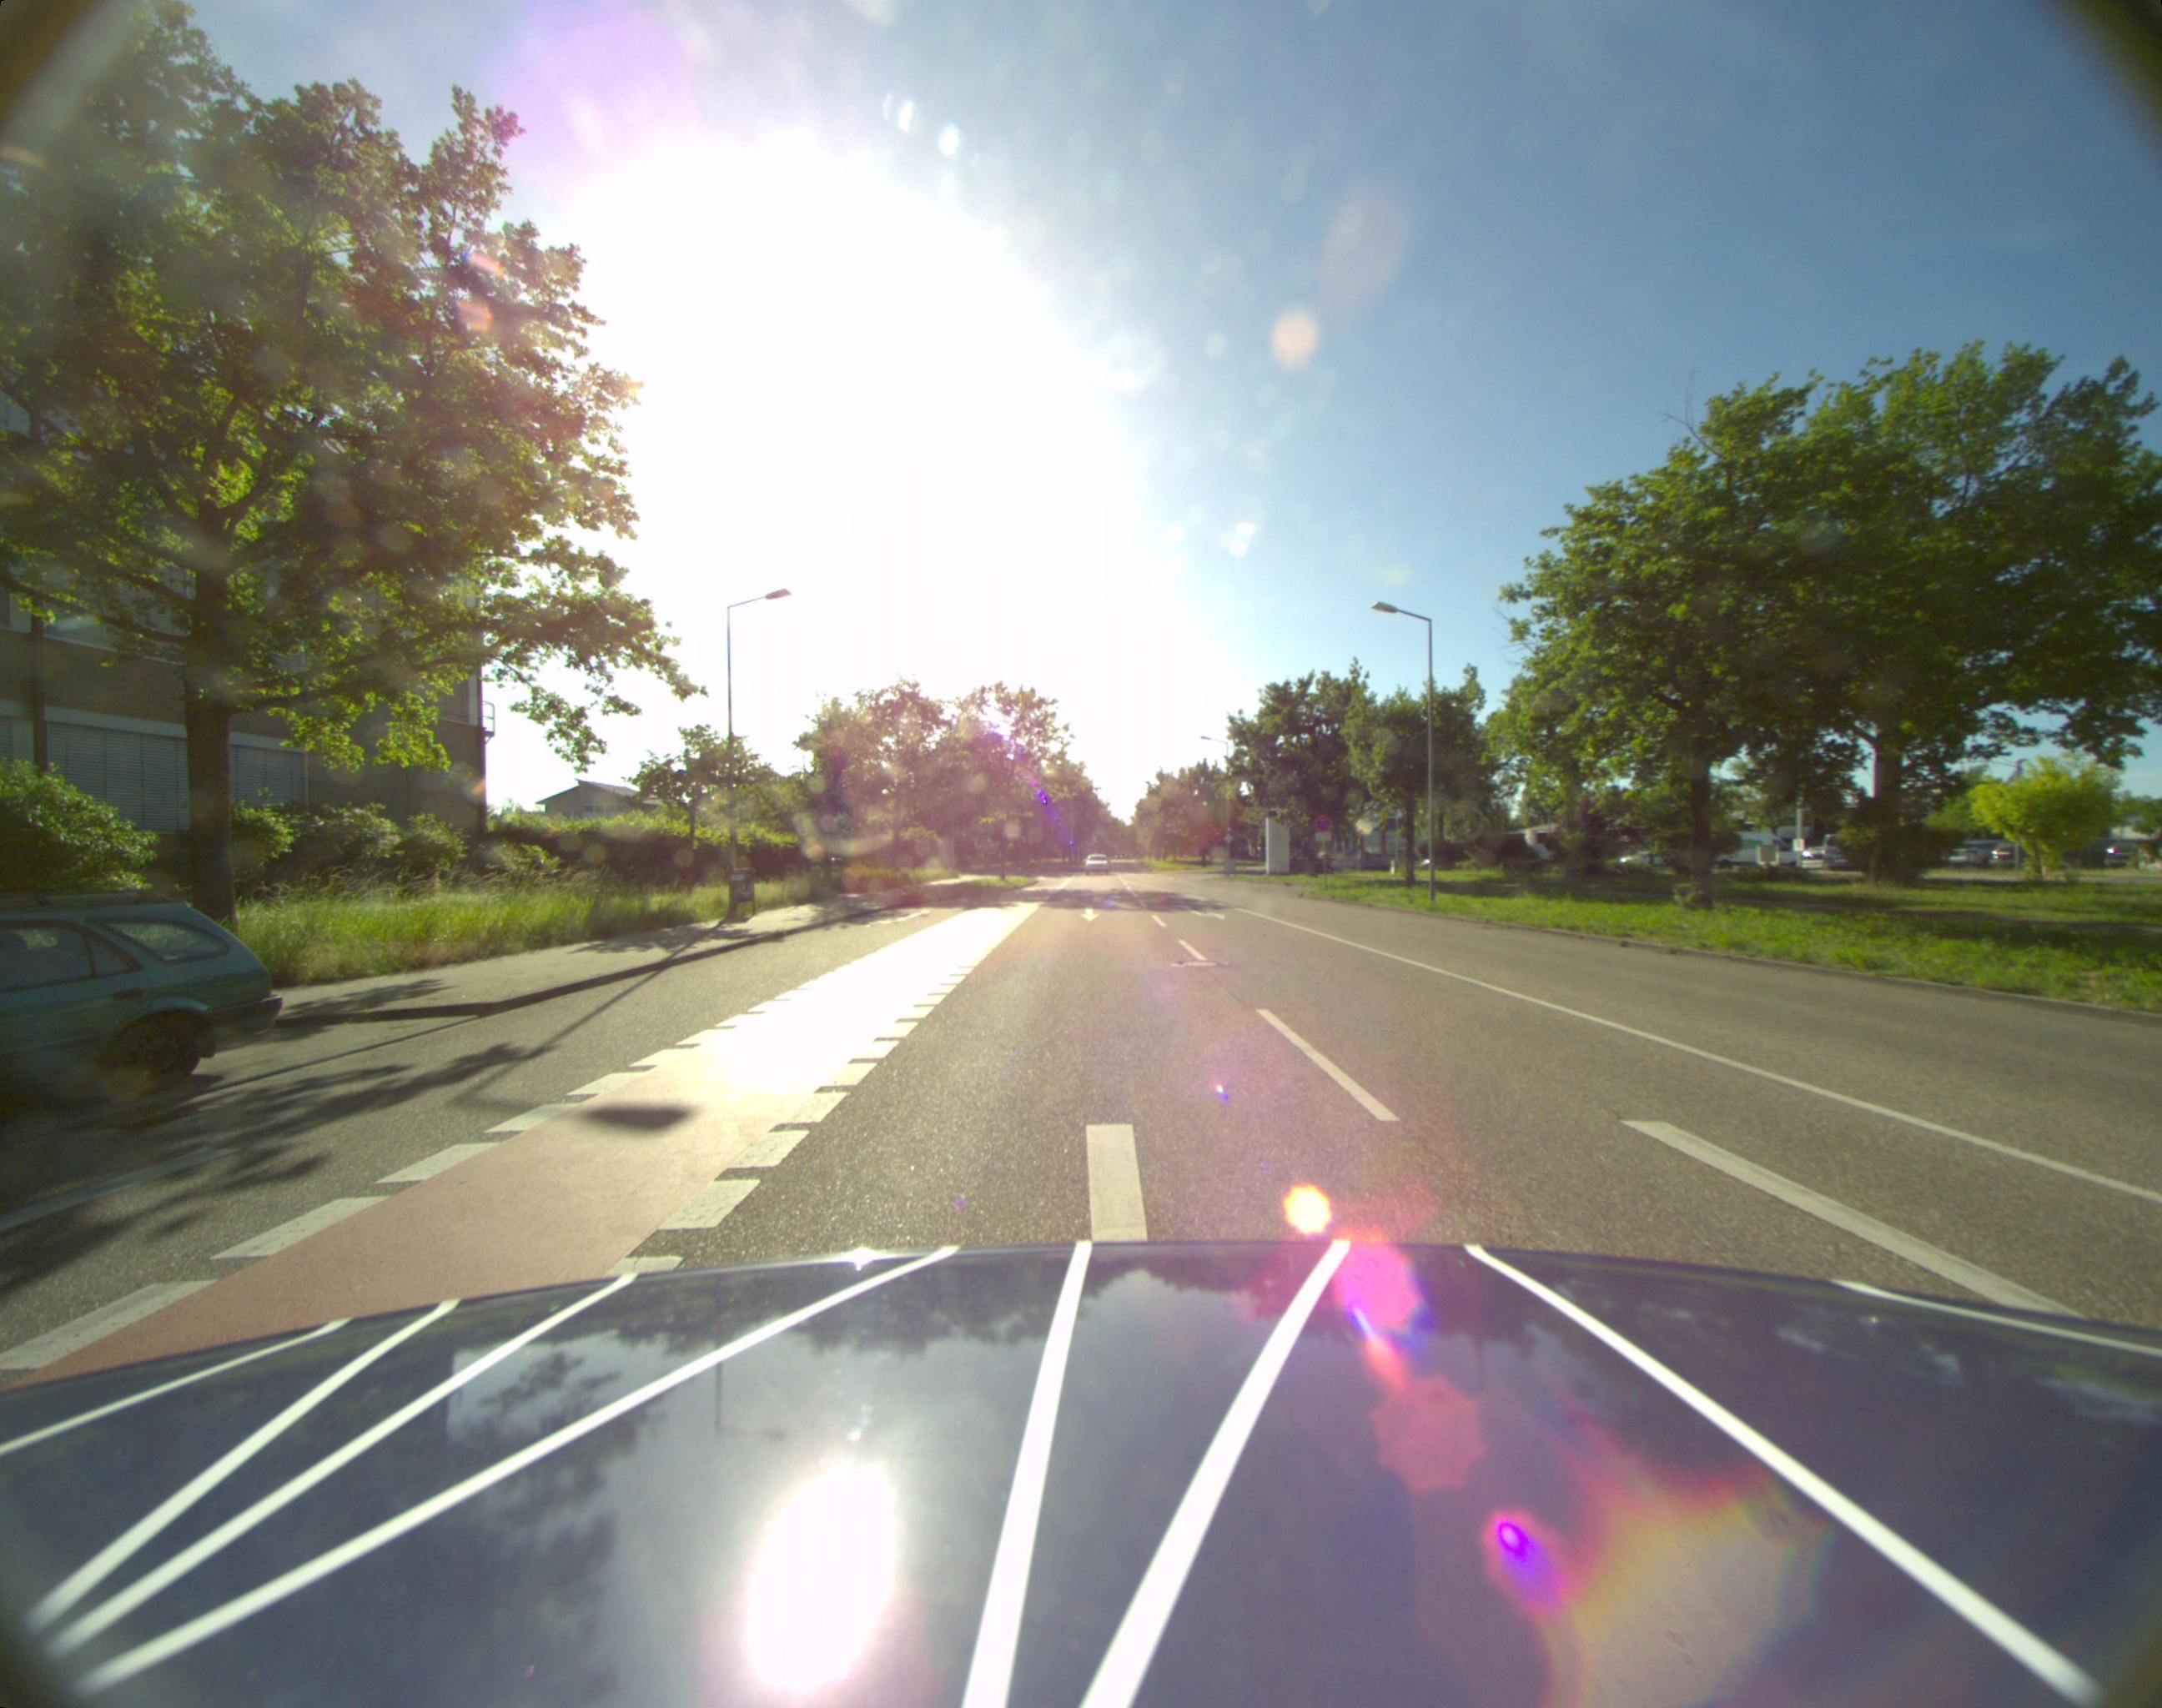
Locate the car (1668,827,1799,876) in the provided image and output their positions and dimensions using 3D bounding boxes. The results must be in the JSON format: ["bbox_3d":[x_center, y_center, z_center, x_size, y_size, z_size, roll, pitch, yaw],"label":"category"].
[{"bbox_3d":[39.592,-0.160,46.177,6.176,2.687,2.300,-2,1,-3],"label":"car"}]

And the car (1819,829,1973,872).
[{"bbox_3d":[40.672,-0.179,38.016,5.424,2.058,2.300,-1,1,-3],"label":"car"}]

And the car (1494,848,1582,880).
[{"bbox_3d":[39.912,0.863,66.421,6.356,2.501,2.300,-2,1,-3],"label":"car"}]

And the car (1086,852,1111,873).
[{"bbox_3d":[1.364,0.639,60.109,1.827,1.477,3.999,-2,1,1],"label":"car"}]

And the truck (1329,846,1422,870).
[{"bbox_3d":[25.291,0.331,65.408,7.130,2.038,2.140,0,1,-2],"label":"truck"}]

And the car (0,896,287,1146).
[{"bbox_3d":[-7.485,1.094,4.248,1.596,1.420,4.203,1,1,2],"label":"car"}]

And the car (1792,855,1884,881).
[{"bbox_3d":[41.163,0.729,41.333,3.532,1.294,1.574,-1,1,-2],"label":"car"}]

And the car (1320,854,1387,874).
[{"bbox_3d":[21.598,0.805,60.315,4.586,1.395,1.999,2,0,-4],"label":"car"}]
